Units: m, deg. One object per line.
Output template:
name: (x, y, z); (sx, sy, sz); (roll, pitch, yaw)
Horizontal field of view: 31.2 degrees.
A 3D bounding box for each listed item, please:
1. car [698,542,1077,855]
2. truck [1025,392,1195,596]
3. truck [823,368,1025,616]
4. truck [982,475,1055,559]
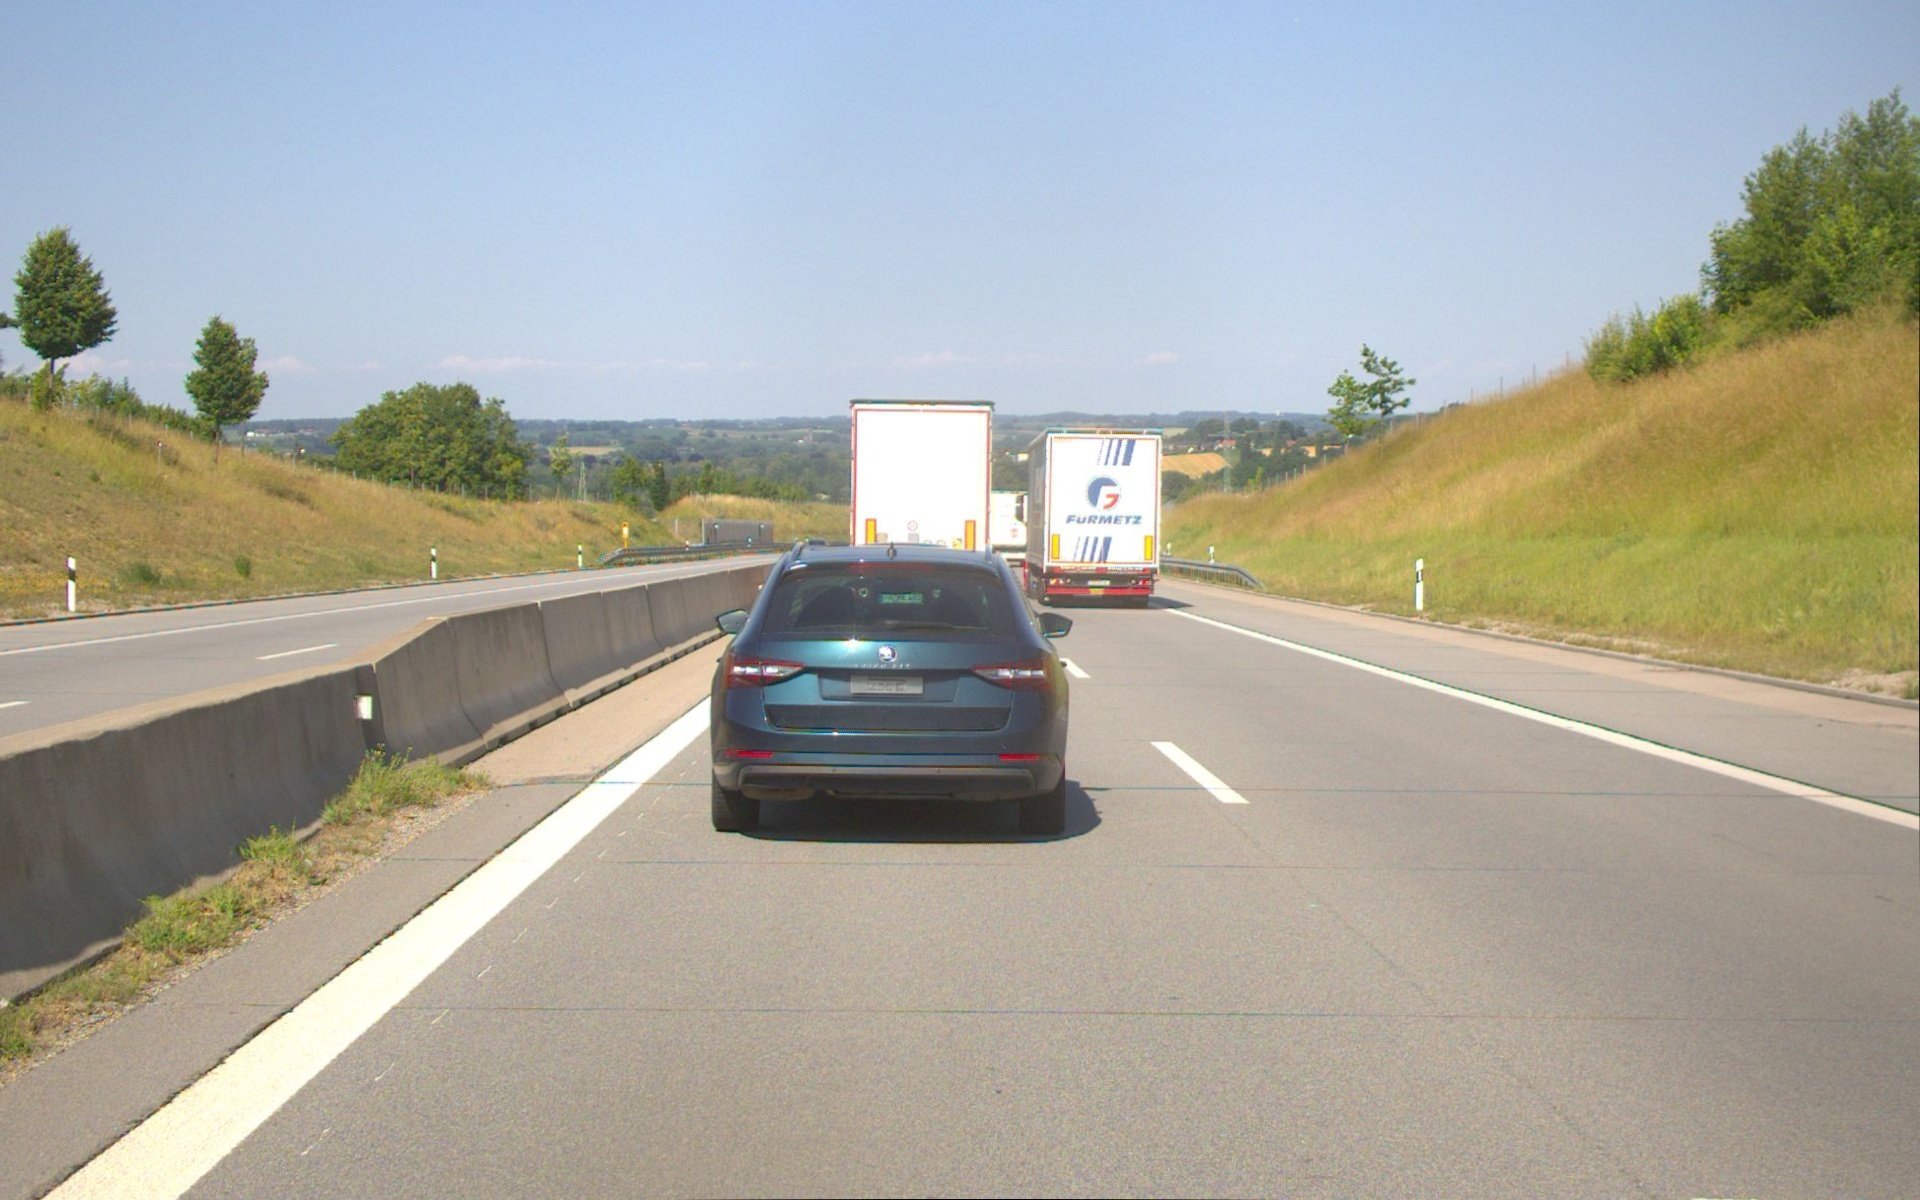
car: (-0.388, 0.433, 18.111); (1.776, 1.436, 3.789); (0, 1, -1)
truck: (3.504, -2.449, 80.910); (3.604, 4.366, 11.233); (-2, 1, 2)
truck: (-0.545, -2.073, 67.427); (3.211, 4.366, 11.233); (-2, 1, 3)
truck: (3.264, -4.549, 188.642); (3.604, 4.366, 11.233); (-2, 1, 2)
